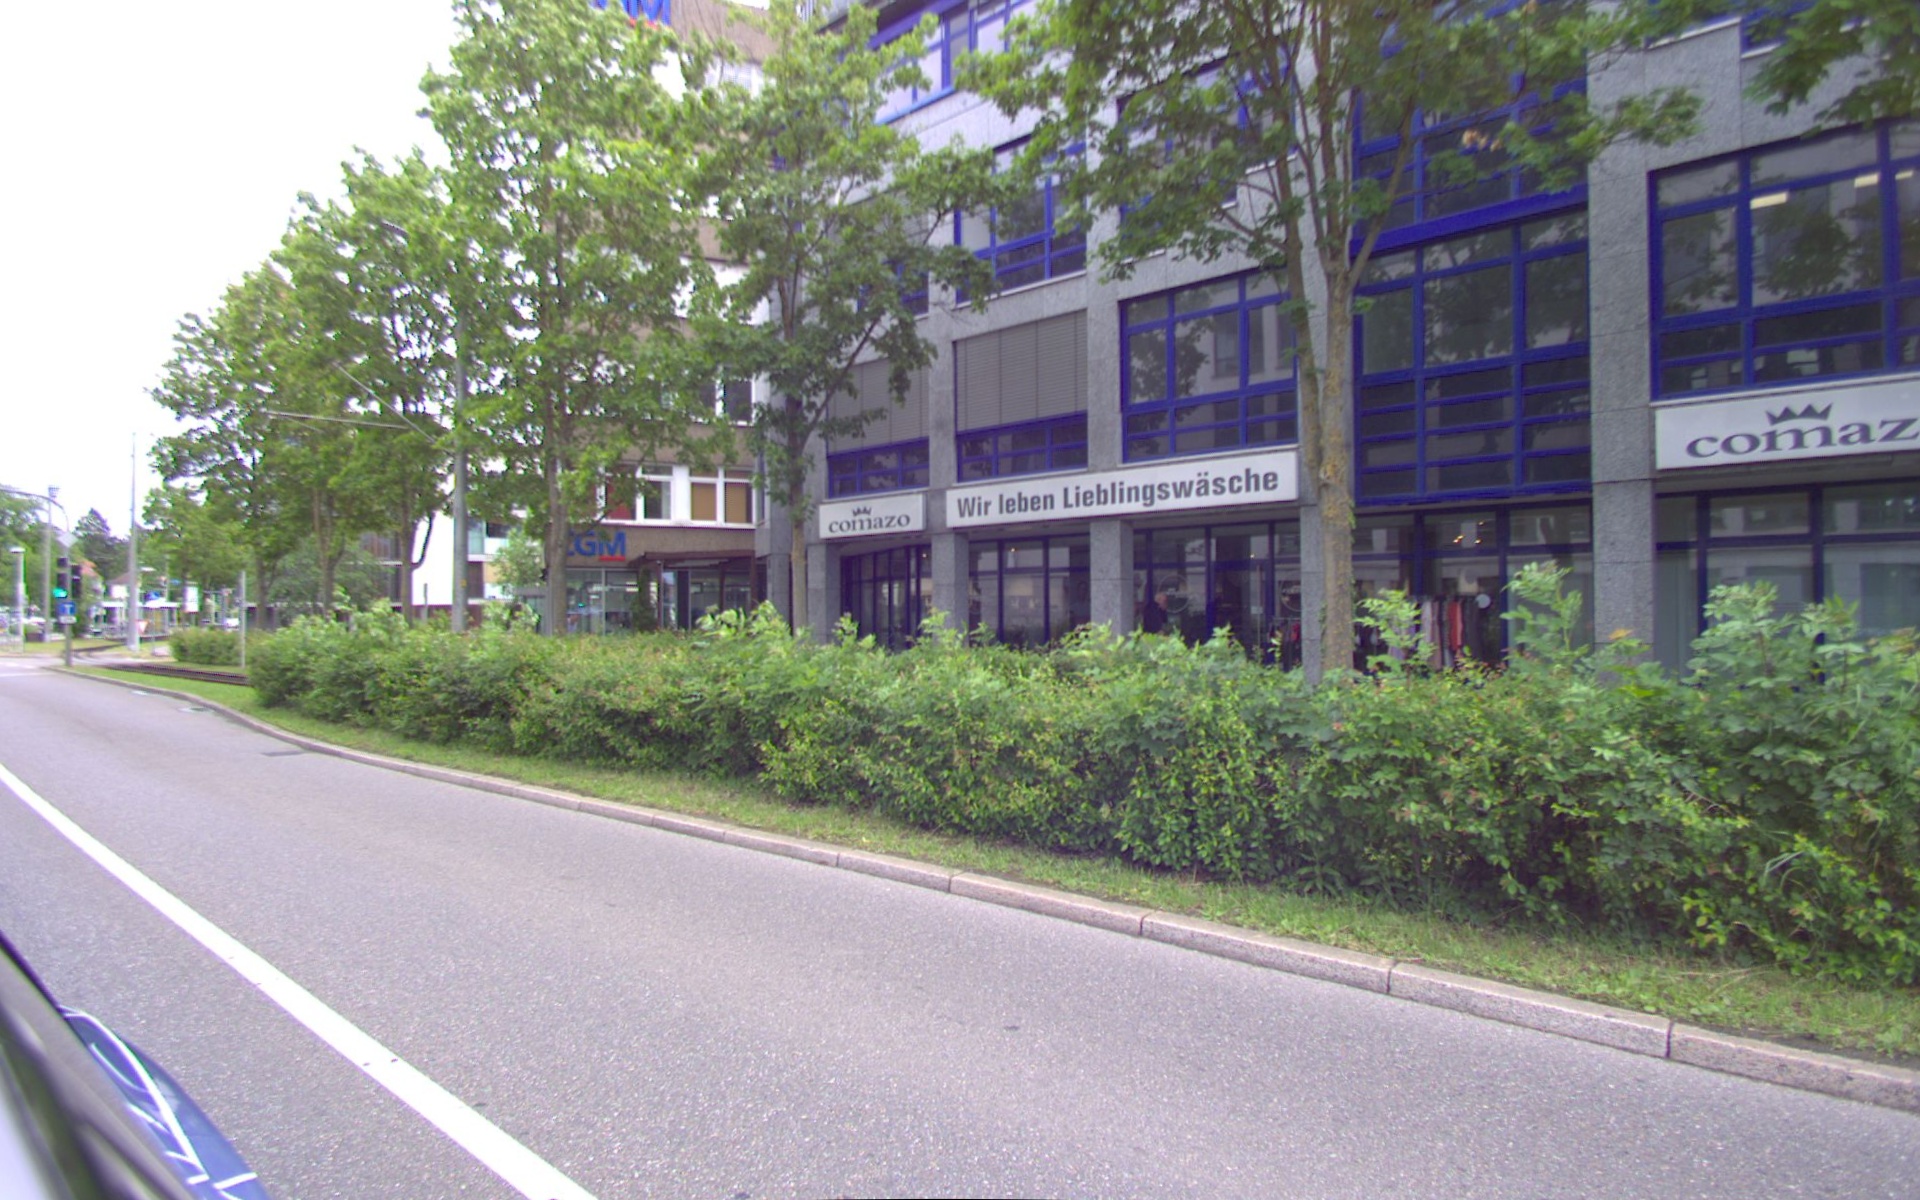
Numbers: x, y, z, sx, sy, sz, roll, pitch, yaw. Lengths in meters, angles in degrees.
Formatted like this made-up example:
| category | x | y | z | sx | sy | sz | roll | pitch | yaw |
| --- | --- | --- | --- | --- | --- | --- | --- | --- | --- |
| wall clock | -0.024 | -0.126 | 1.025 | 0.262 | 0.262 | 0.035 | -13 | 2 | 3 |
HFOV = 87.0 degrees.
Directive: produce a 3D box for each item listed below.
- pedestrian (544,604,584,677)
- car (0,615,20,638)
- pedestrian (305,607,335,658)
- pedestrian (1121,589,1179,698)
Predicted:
| category | x | y | z | sx | sy | sz | roll | pitch | yaw |
| --- | --- | --- | --- | --- | --- | --- | --- | --- | --- |
| pedestrian | -10.126 | 1.018 | 25.883 | 0.730 | 1.819 | 0.672 | -1 | 0 | 37 |
| car | -89.814 | 2.481 | 94.420 | 1.965 | 2.029 | 4.013 | 0 | 0 | -25 |
| pedestrian | -24.786 | 1.259 | 39.186 | 0.731 | 1.938 | 0.805 | -1 | 0 | 40 |
| pedestrian | 3.408 | 0.759 | 18.152 | 0.731 | 1.908 | 0.766 | -1 | 0 | 40 |
